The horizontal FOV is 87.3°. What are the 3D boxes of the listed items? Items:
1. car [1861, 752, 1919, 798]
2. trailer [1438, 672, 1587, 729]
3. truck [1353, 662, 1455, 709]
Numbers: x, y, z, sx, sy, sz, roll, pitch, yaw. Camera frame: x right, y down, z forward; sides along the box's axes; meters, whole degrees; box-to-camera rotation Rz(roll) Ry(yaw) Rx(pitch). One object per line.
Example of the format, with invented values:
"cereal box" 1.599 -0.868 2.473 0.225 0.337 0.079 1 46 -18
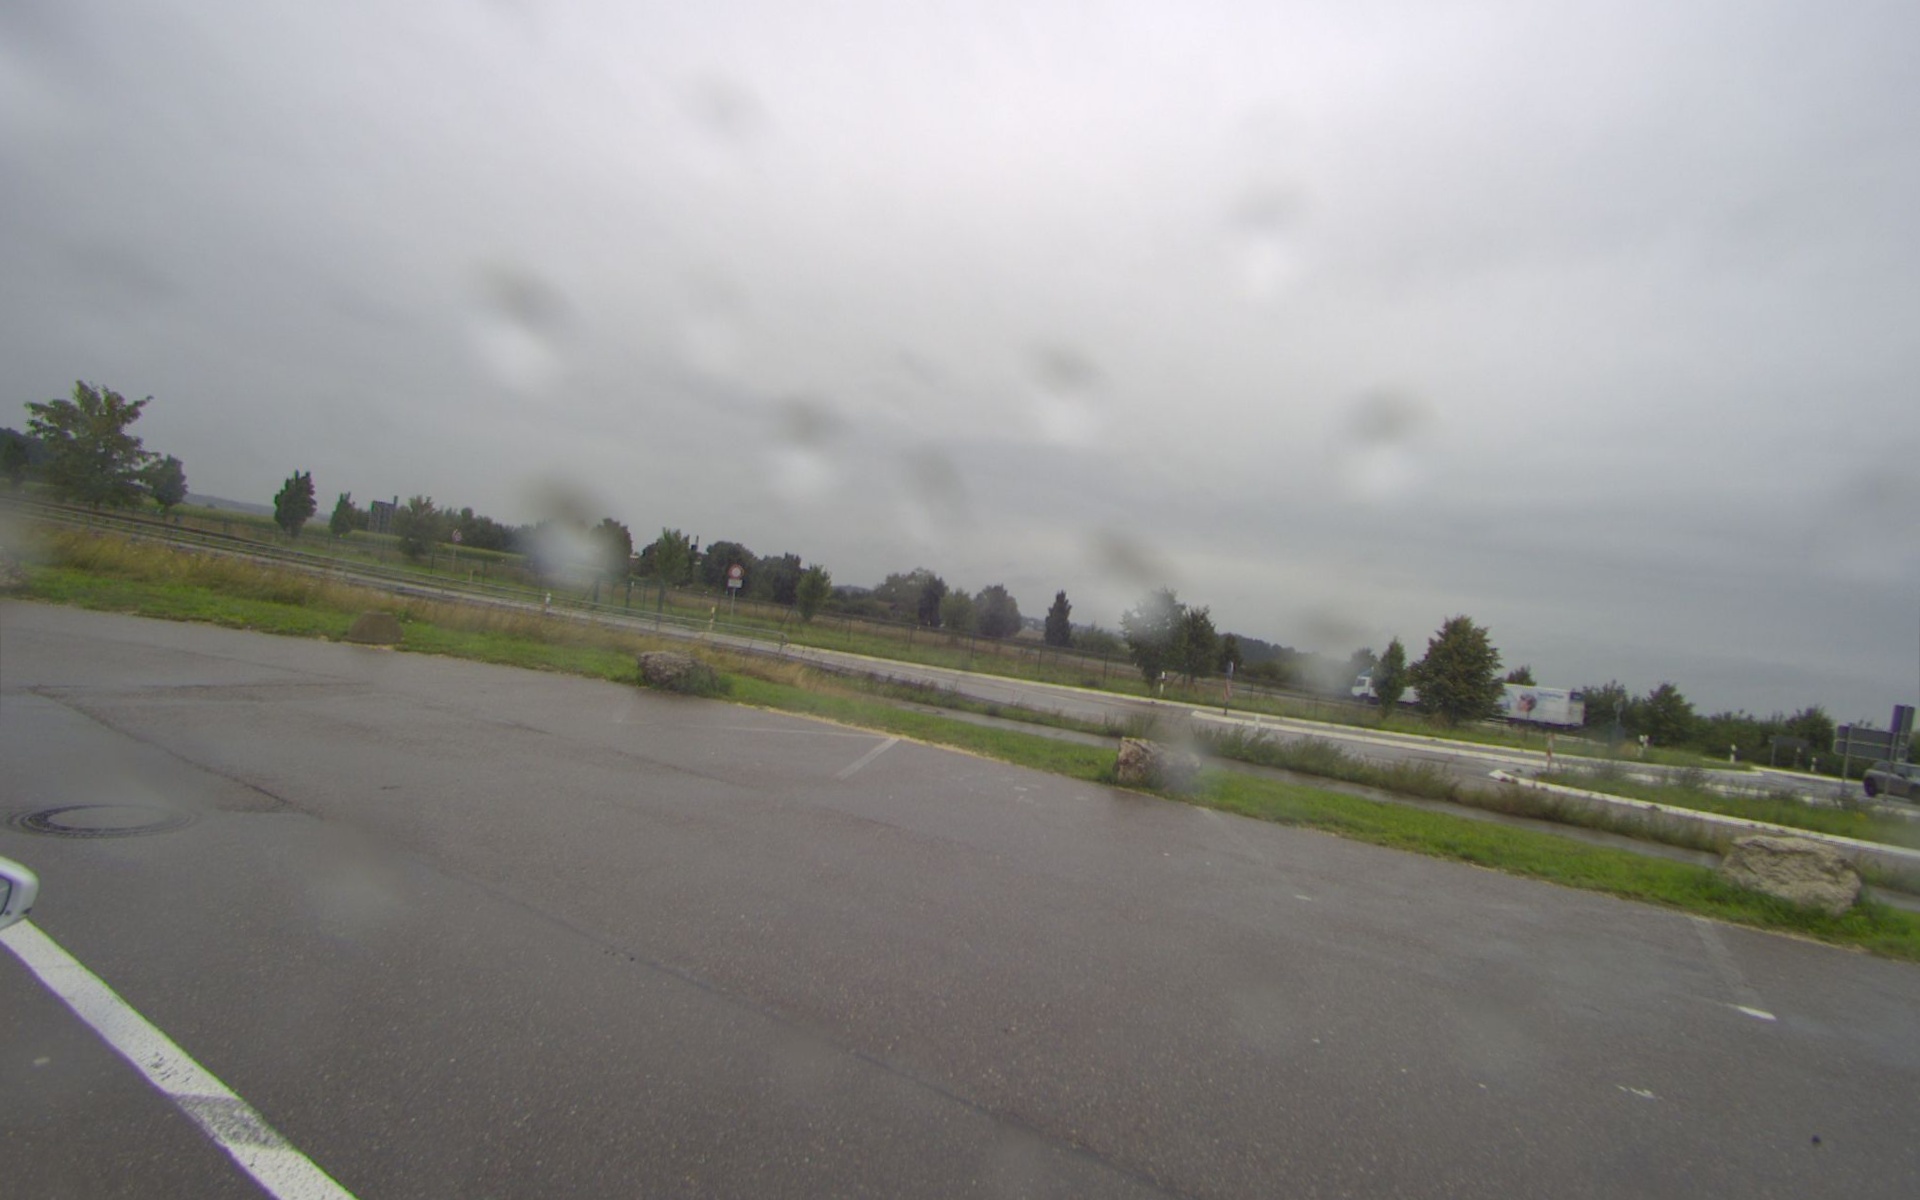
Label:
"car" 37.099 6.875 38.704 1.723 1.341 4.310 6 0 15
"trailer" 43.384 7.838 79.407 2.190 2.935 10.040 9 -2 -37
"truck" 38.055 7.298 86.531 2.167 2.941 7.712 9 -2 -37
